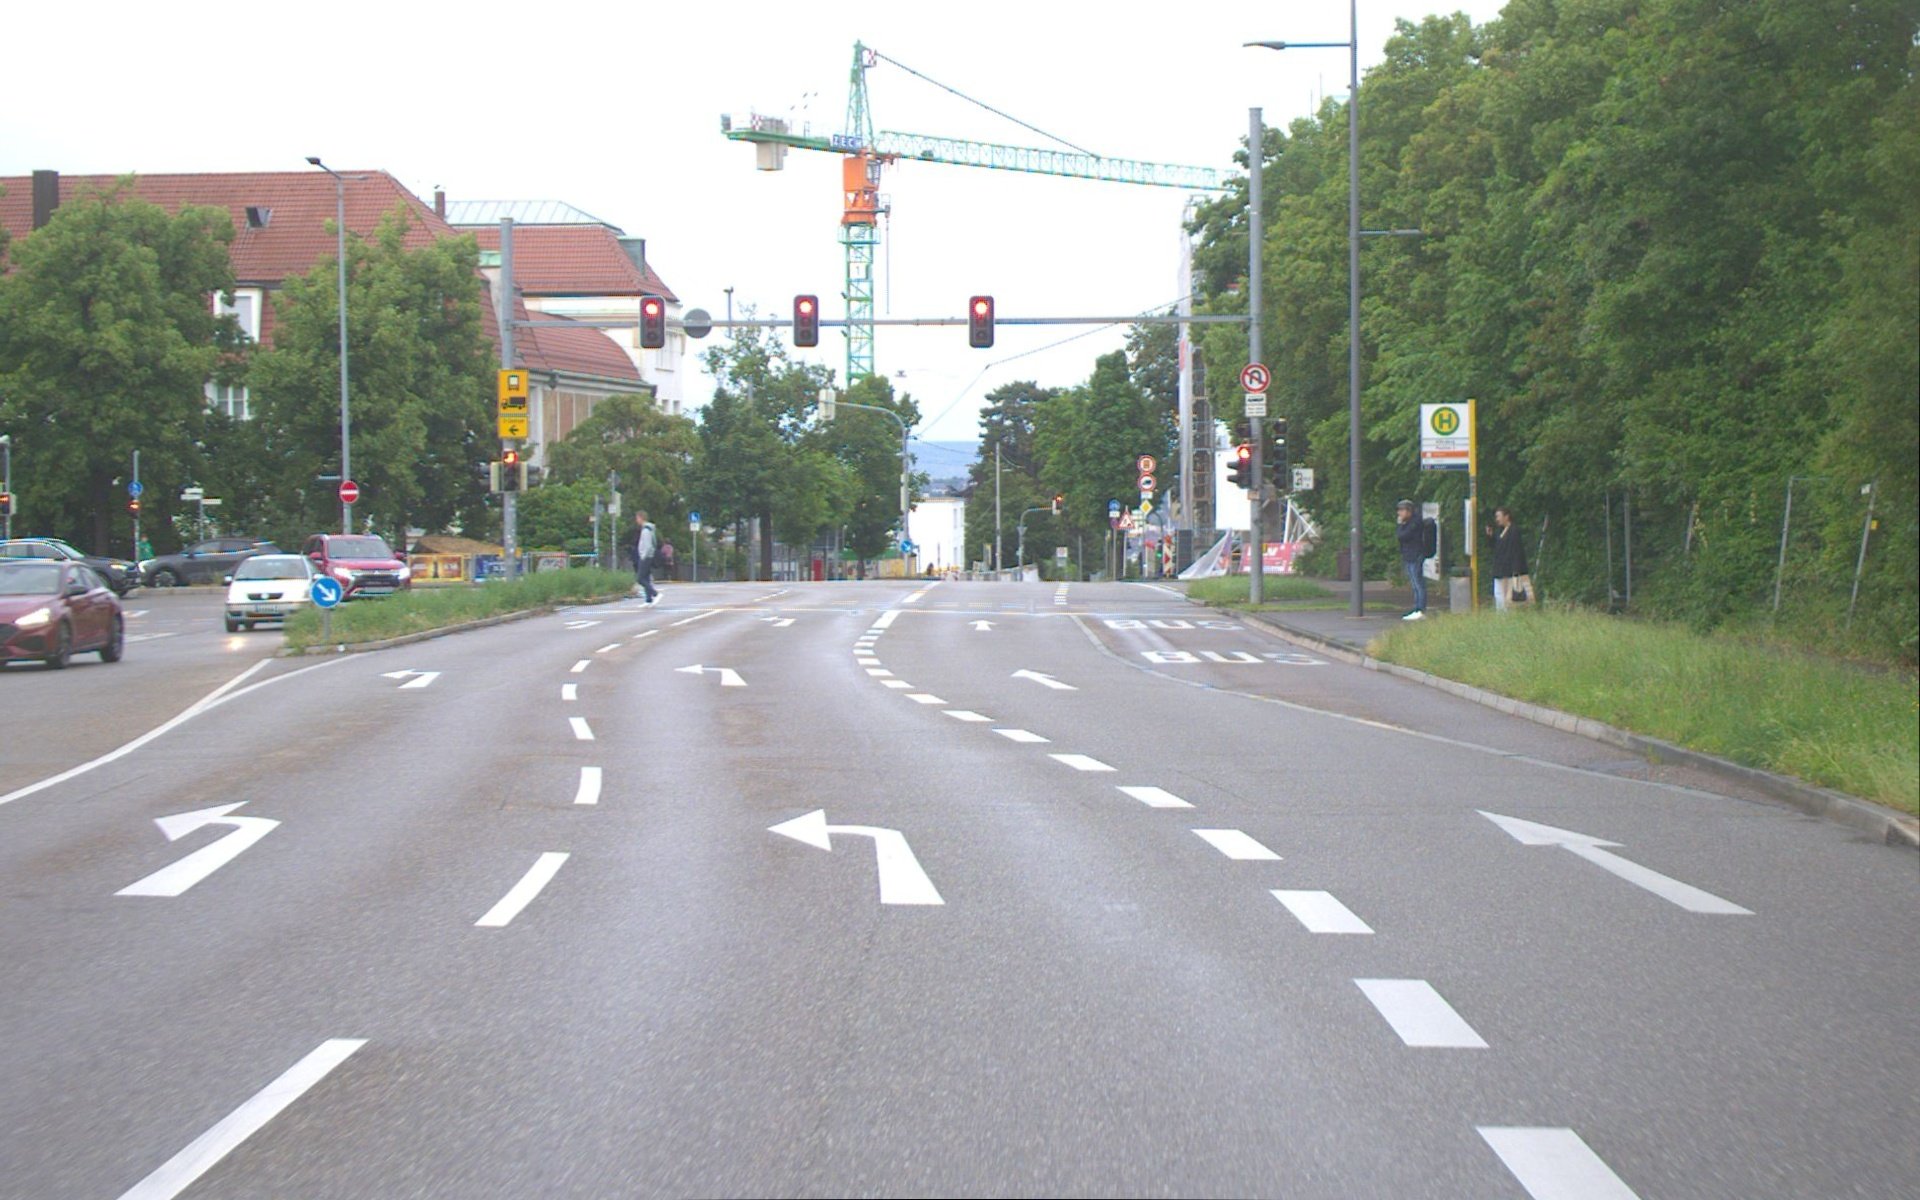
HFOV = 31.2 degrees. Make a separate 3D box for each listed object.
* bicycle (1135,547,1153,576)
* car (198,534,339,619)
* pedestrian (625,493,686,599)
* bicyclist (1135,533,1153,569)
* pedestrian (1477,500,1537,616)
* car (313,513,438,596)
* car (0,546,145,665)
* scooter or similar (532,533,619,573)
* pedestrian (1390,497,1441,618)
[{"bbox_3d":[7.943,-1.667,148.767,0.720,1.189,1.756,1,0,2],"label":"bicycle"},{"bbox_3d":[-12.859,-0.466,64.170,1.762,1.411,3.879,-3,2,0],"label":"car"},{"bbox_3d":[-5.941,-1.052,67.096,0.940,2.006,0.847,-3,1,6],"label":"pedestrian"},{"bbox_3d":[7.954,-2.114,148.756,0.720,1.558,1.143,1,0,2],"label":"bicyclist"},{"bbox_3d":[7.927,-0.611,49.829,0.675,1.652,0.793,-1,1,-5],"label":"pedestrian"},{"bbox_3d":[-12.869,-1.026,76.005,1.853,1.677,4.738,-3,2,0],"label":"car"},{"bbox_3d":[-12.327,0.061,45.685,1.832,1.411,4.466,-3,2,0],"label":"car"},{"bbox_3d":[-14.230,-1.748,127.283,3.087,1.435,0.949,-1,2,-1],"label":"scooter or similar"},{"bbox_3d":[7.206,-0.679,54.414,0.640,1.894,0.718,-1,1,-5],"label":"pedestrian"}]
